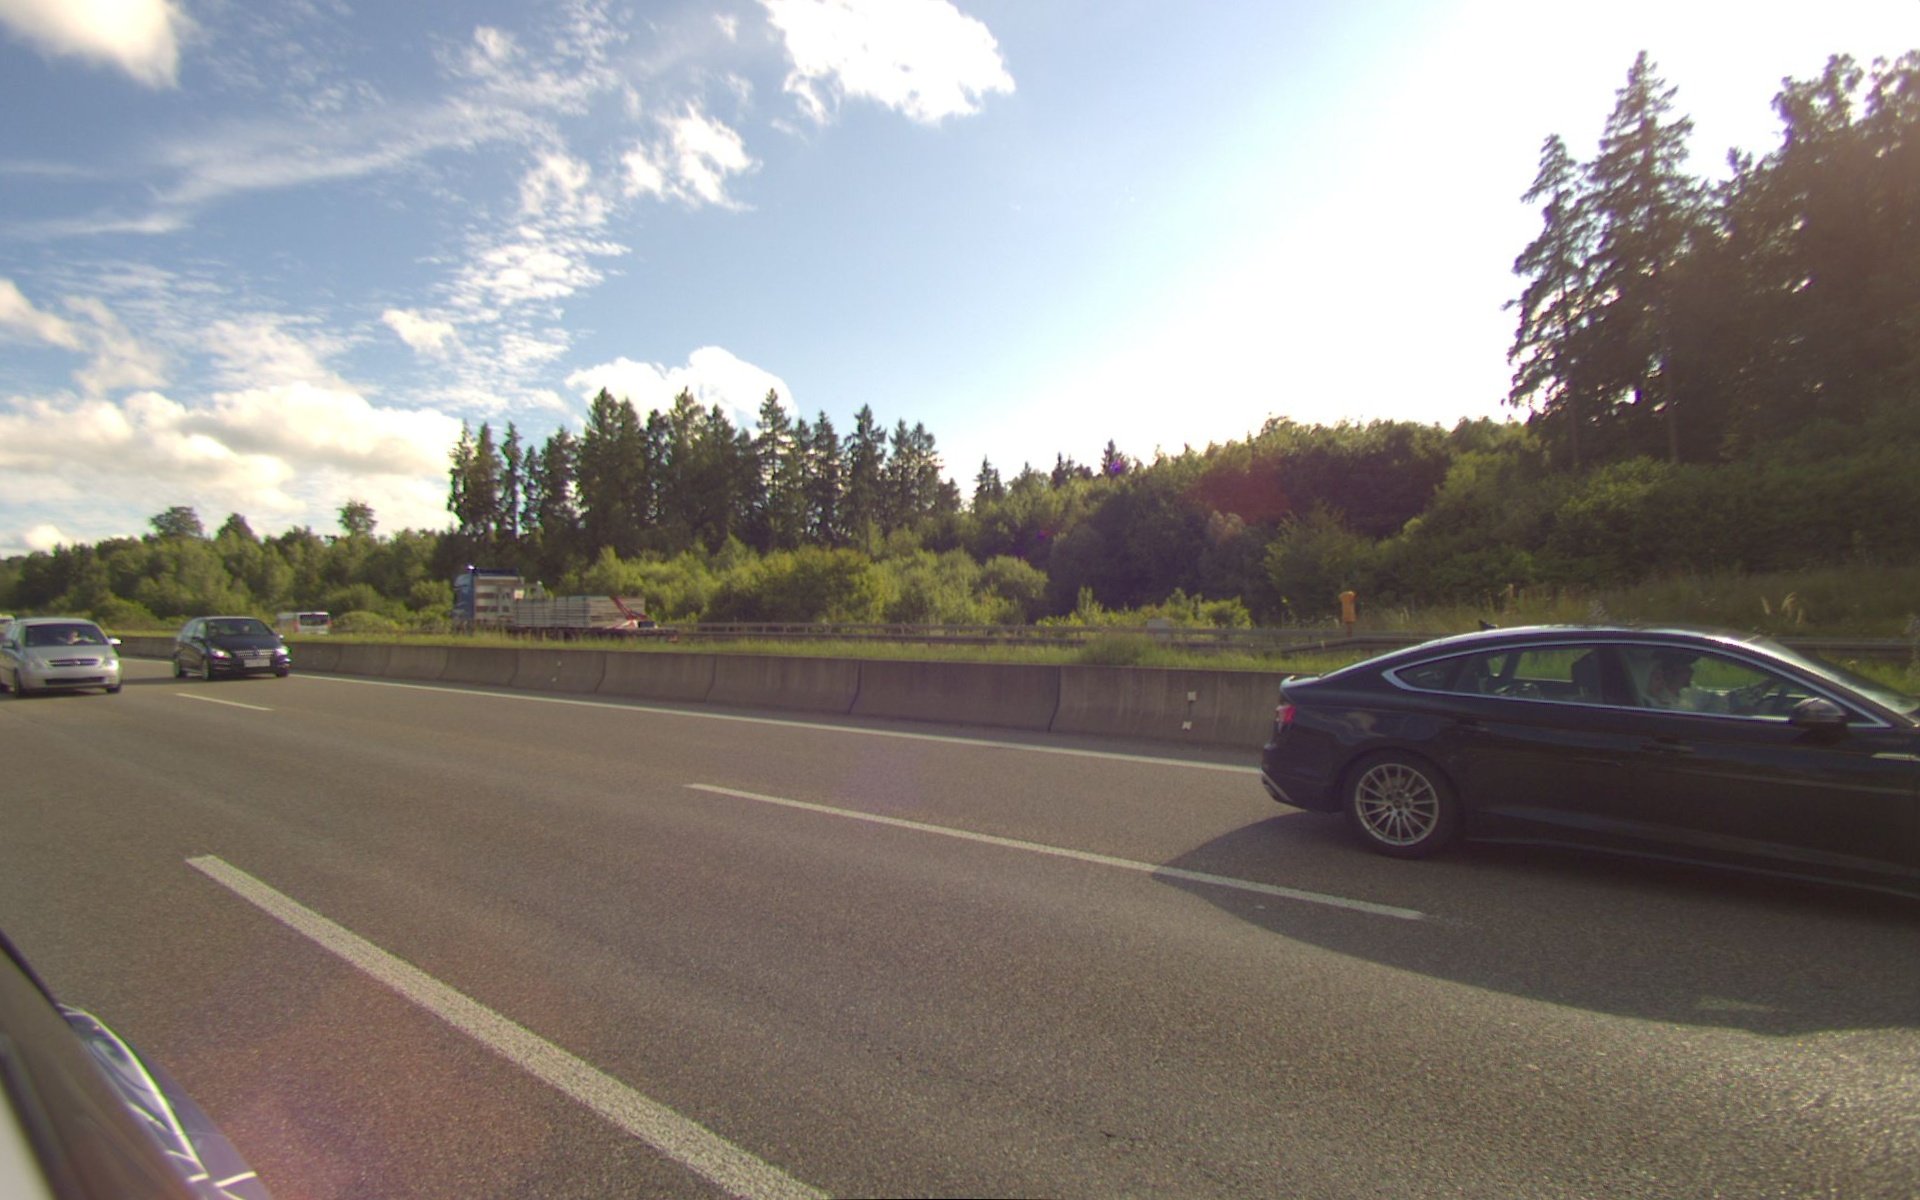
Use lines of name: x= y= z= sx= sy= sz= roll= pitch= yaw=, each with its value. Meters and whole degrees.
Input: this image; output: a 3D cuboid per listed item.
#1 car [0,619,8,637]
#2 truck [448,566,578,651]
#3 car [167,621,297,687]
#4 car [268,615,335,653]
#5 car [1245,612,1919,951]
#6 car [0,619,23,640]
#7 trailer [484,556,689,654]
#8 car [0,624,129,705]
car: x=-123.682 y=3.592 z=129.580 sx=5.443 sy=2.292 sz=2.075 roll=-1 pitch=1 yaw=41
truck: x=-21.887 y=0.449 z=49.356 sx=7.119 sy=3.867 sz=3.082 roll=-2 pitch=-1 yaw=41
car: x=-18.849 y=1.342 z=26.152 sx=4.331 sy=1.529 sz=1.816 roll=-2 pitch=-1 yaw=41
car: x=-37.030 y=1.896 z=56.848 sx=4.857 sy=2.029 sz=1.972 roll=-2 pitch=-1 yaw=41
car: x=4.221 y=0.801 z=5.490 sx=4.839 sy=1.442 sz=1.837 roll=-2 pitch=-1 yaw=41
car: x=-93.742 y=2.899 z=99.280 sx=5.281 sy=1.939 sz=2.075 roll=-1 pitch=1 yaw=41
trailer: x=-16.902 y=0.330 z=45.012 sx=12.202 sy=3.867 sz=3.092 roll=-2 pitch=-1 yaw=41
car: x=-19.237 y=1.298 z=21.461 sx=4.331 sy=1.529 sz=1.816 roll=-2 pitch=-1 yaw=41
